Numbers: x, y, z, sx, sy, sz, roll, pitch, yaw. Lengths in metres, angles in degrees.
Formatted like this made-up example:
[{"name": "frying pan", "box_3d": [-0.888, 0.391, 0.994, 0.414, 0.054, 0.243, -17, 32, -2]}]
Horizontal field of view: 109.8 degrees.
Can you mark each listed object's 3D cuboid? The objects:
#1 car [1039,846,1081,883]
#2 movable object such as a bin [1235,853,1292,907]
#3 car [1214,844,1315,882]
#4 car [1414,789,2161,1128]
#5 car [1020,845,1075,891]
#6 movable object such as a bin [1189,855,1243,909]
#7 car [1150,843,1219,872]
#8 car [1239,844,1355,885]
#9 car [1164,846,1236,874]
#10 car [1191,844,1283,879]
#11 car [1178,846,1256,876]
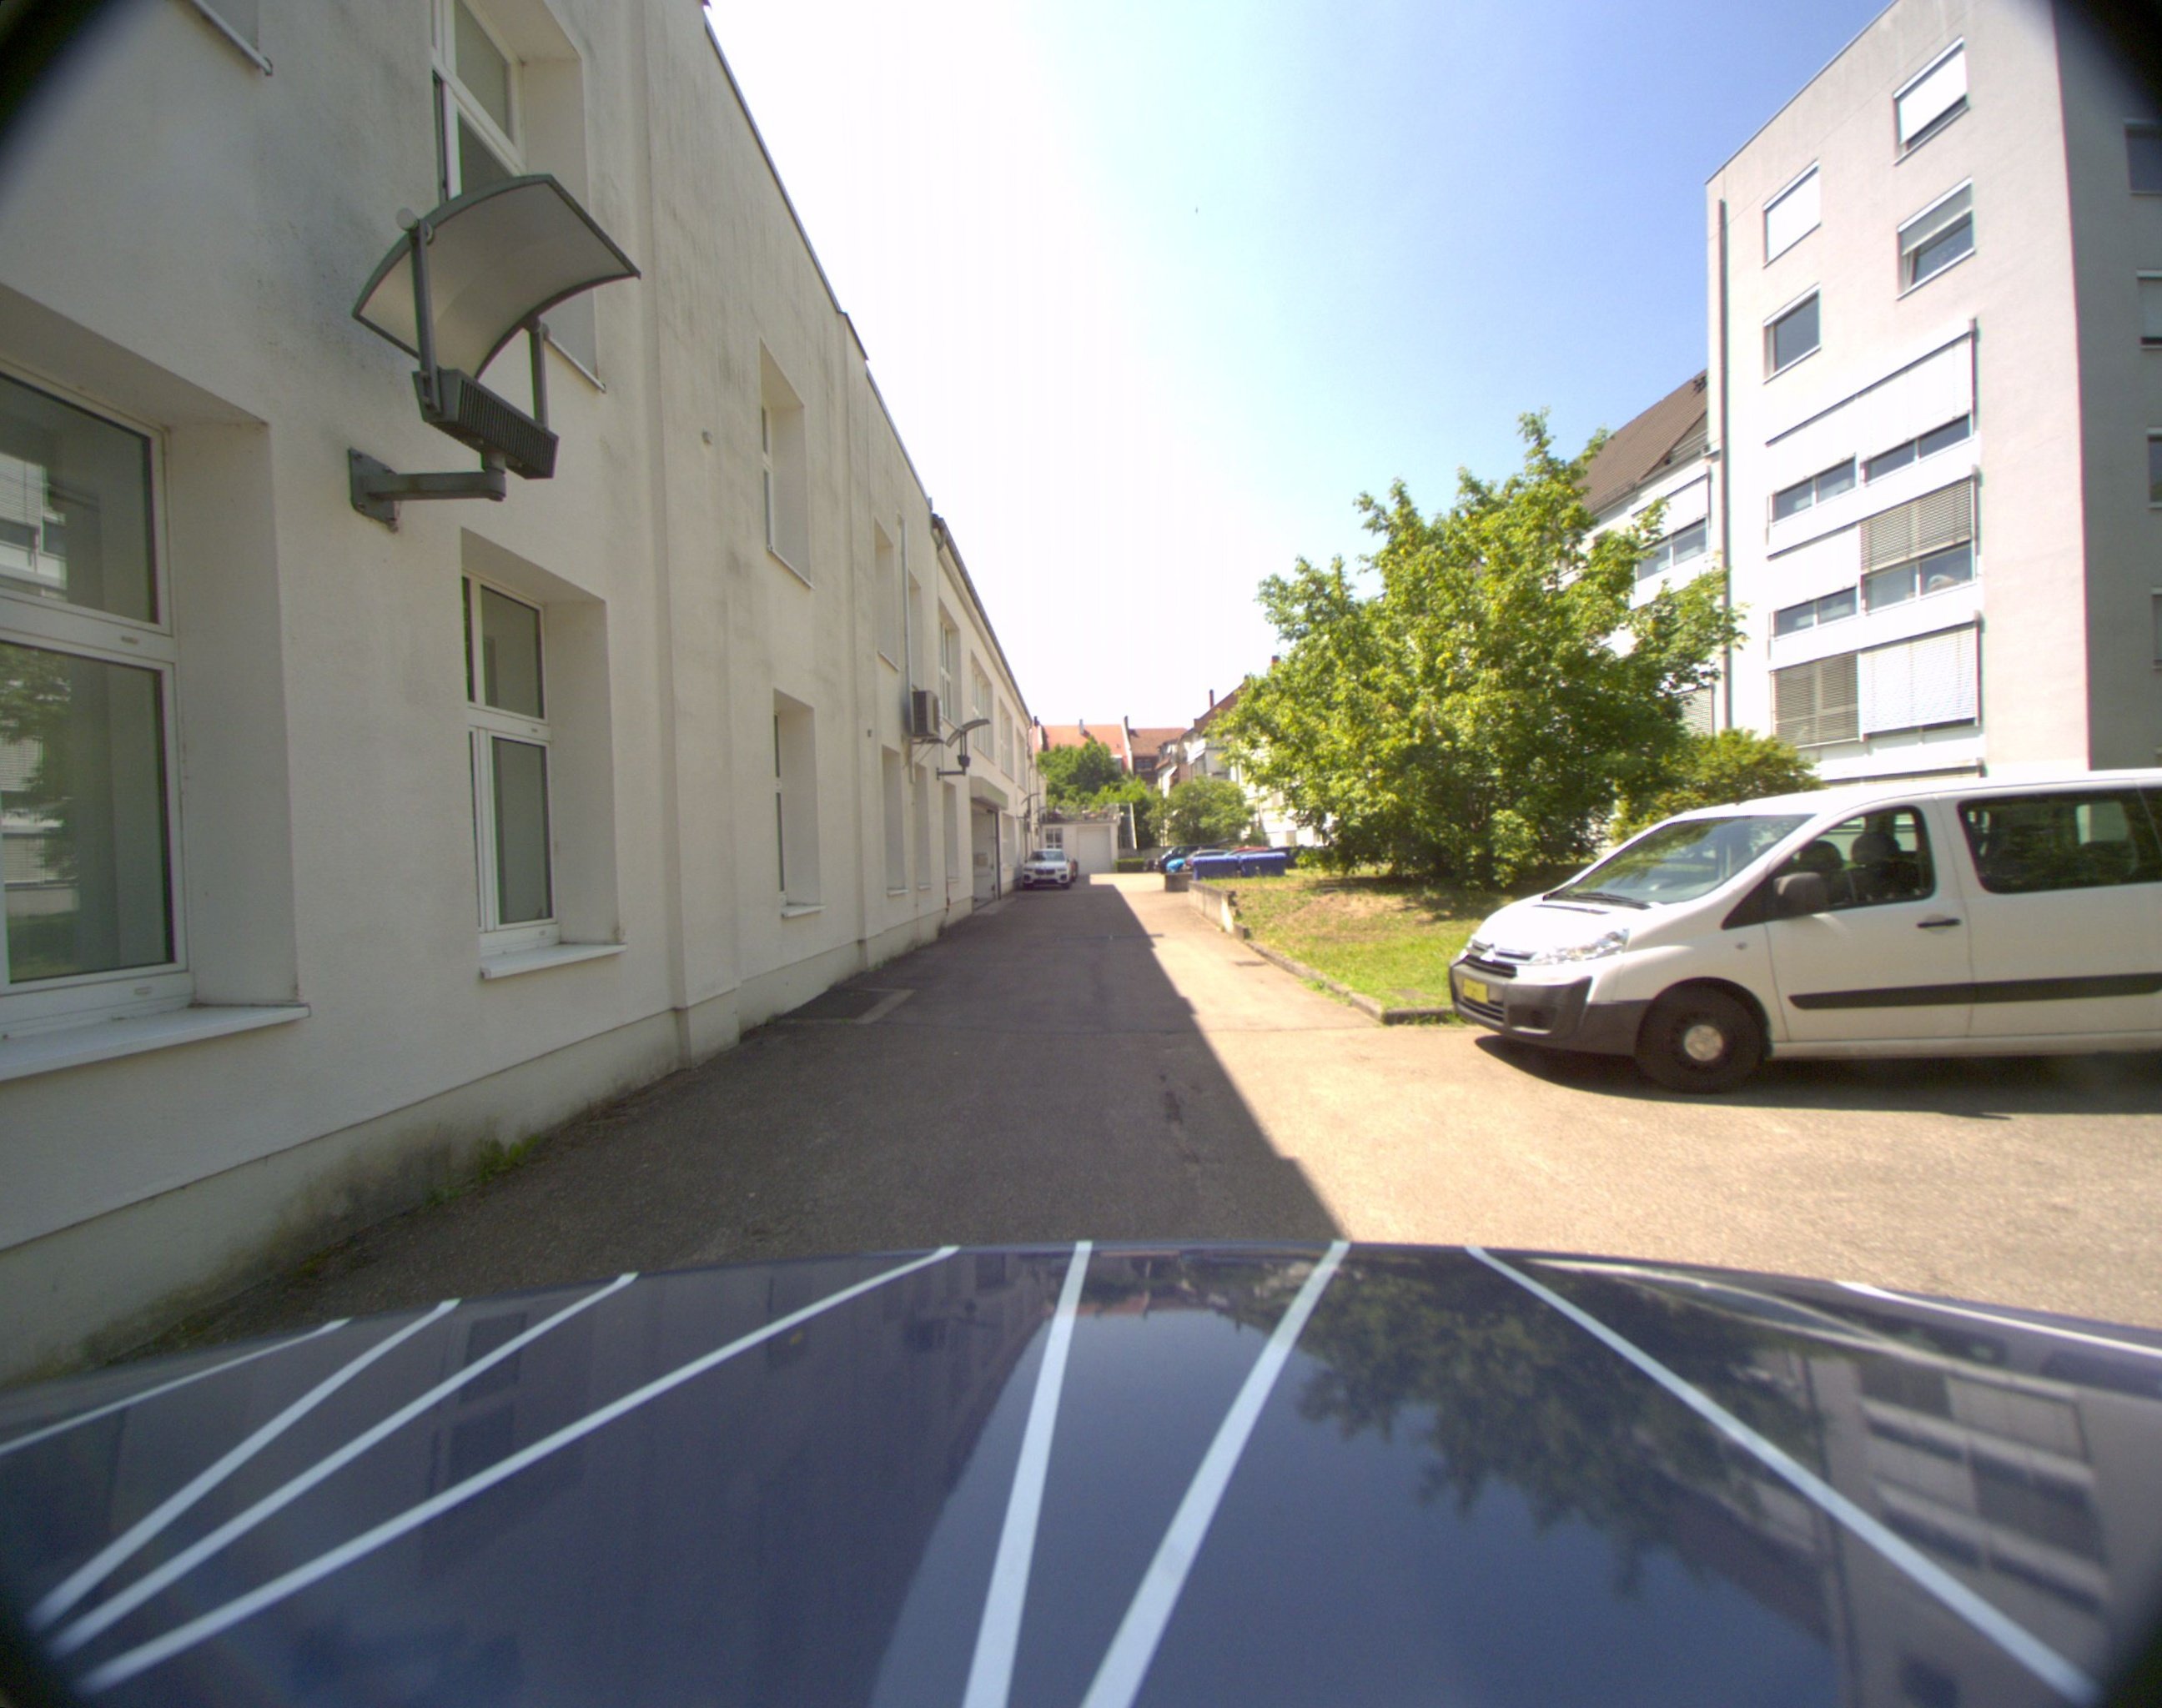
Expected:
[{"name": "car", "box_3d": [-1.118, 0.532, 42.000, 2.011, 1.793, 4.726, -2, 1, 1]}, {"name": "movable object such as a bin", "box_3d": [4.981, 0.702, 20.829, 1.271, 1.380, 1.095, -2, 1, 1]}, {"name": "car", "box_3d": [8.458, 0.378, 35.157, 4.223, 1.560, 1.612, -2, 1, -4]}, {"name": "car", "box_3d": [5.228, 0.582, 5.334, 4.858, 1.873, 2.067, -2, 1, 3]}, {"name": "car", "box_3d": [-1.381, 0.551, 33.199, 2.011, 1.793, 4.726, -2, 1, 1]}, {"name": "movable object such as a bin", "box_3d": [3.682, 0.744, 20.832, 1.271, 1.380, 1.095, -2, 1, 1]}, {"name": "car", "box_3d": [6.926, 0.212, 51.104, 4.223, 1.813, 2.008, -2, 1, -4]}, {"name": "car", "box_3d": [9.190, 0.405, 32.437, 4.445, 1.560, 1.612, -2, 1, -4]}, {"name": "car", "box_3d": [7.490, 0.376, 48.160, 4.223, 1.560, 1.612, -2, 1, -4]}, {"name": "car", "box_3d": [7.868, 0.369, 38.474, 4.223, 1.560, 1.612, -2, 1, -4]}, {"name": "car", "box_3d": [8.040, 0.396, 45.090, 4.223, 1.560, 1.612, -2, 1, -4]}]
